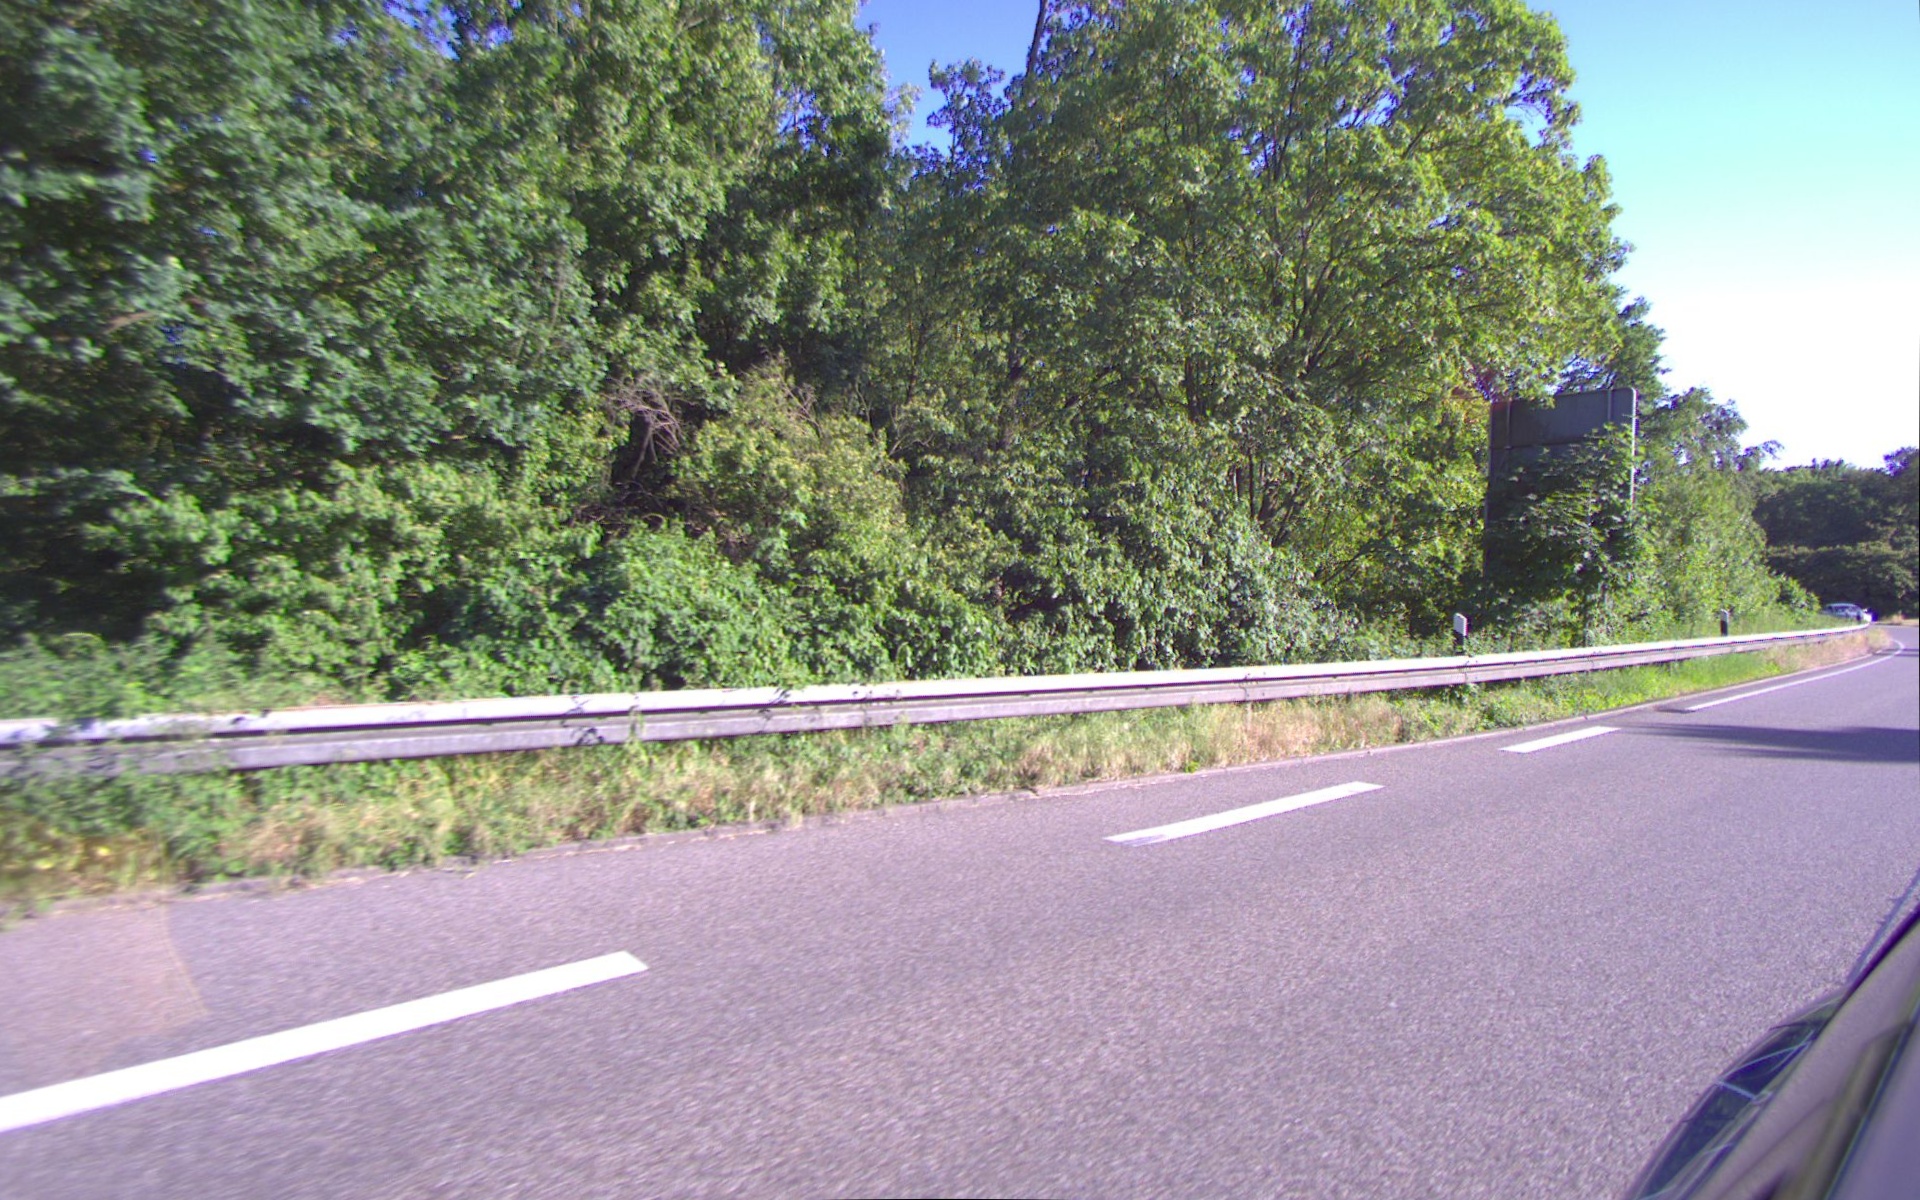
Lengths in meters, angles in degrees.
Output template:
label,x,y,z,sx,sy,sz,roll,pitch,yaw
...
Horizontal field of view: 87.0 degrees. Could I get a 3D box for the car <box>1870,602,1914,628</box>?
label,x,y,z,sx,sy,sz,roll,pitch,yaw
car,58.149,0.945,63.141,3.331,1.504,1.680,1,1,-42
